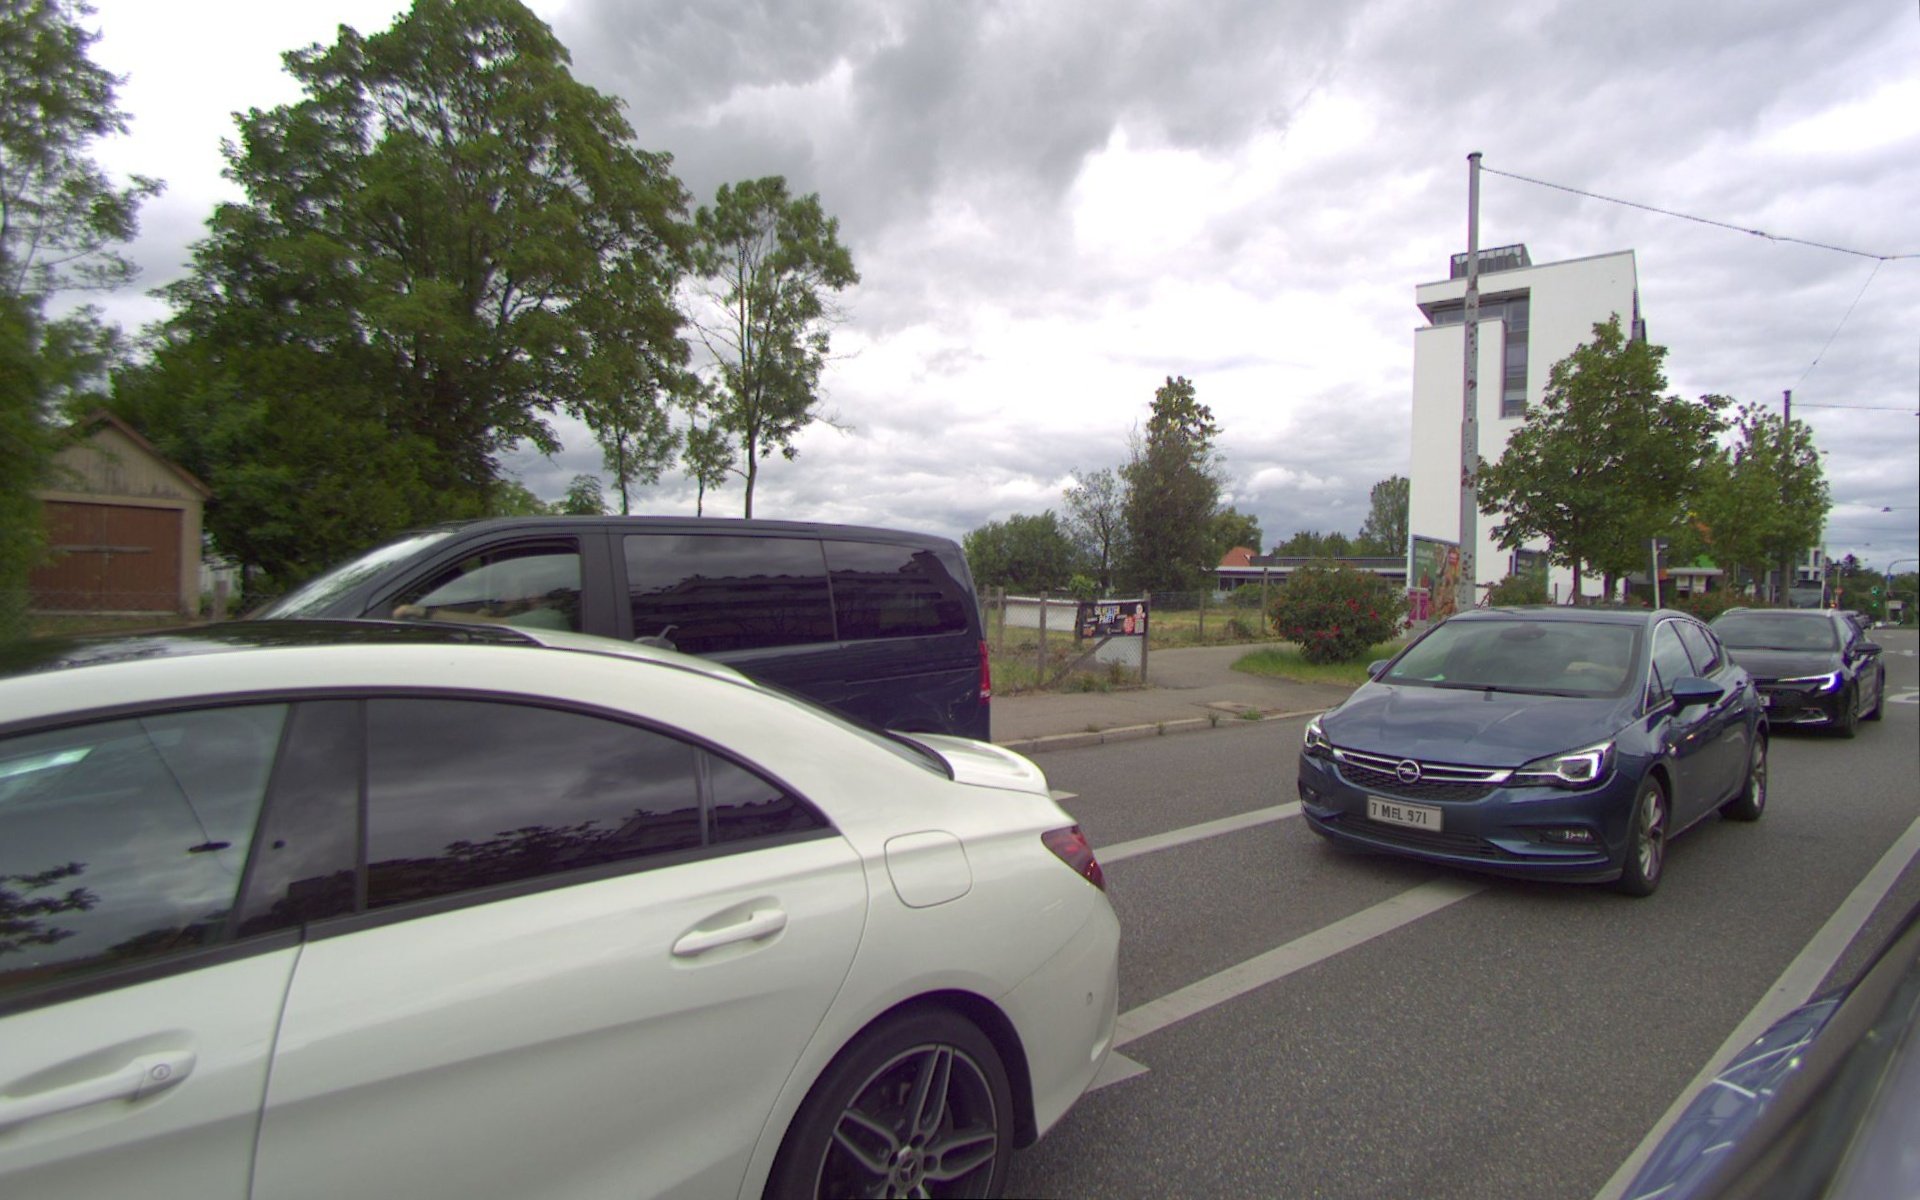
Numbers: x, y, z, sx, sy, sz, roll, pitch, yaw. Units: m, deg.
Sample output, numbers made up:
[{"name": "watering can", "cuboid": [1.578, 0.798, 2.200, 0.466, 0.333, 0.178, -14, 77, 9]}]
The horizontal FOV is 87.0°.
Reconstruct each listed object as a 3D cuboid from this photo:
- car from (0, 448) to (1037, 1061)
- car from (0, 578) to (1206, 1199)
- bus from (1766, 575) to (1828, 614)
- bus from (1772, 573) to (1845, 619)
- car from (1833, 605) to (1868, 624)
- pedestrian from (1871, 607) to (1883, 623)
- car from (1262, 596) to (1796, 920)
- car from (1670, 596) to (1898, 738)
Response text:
[{"name": "car", "cuboid": [-1.916, 0.468, 5.260, 4.627, 1.863, 1.952, 0, -1, -41]}, {"name": "car", "cuboid": [-1.538, 0.697, 1.816, 4.300, 1.451, 1.652, 0, 1, -41]}, {"name": "bus", "cuboid": [61.419, -0.440, 74.477, 2.952, 2.664, 12.751, 0, 1, 37]}, {"name": "bus", "cuboid": [53.952, -0.306, 64.576, 2.952, 2.664, 11.986, 0, 1, 37]}, {"name": "car", "cuboid": [79.270, 1.272, 90.117, 1.840, 1.637, 3.736, -1, -1, 34]}, {"name": "pedestrian", "cuboid": [114.183, 1.885, 126.024, 0.969, 2.039, 0.979, 0, 0, 36]}, {"name": "car", "cuboid": [3.809, 0.693, 6.483, 3.931, 1.428, 1.825, 0, 0, -42]}, {"name": "car", "cuboid": [10.234, 0.696, 12.474, 3.855, 1.475, 1.663, 0, 0, -43]}]
